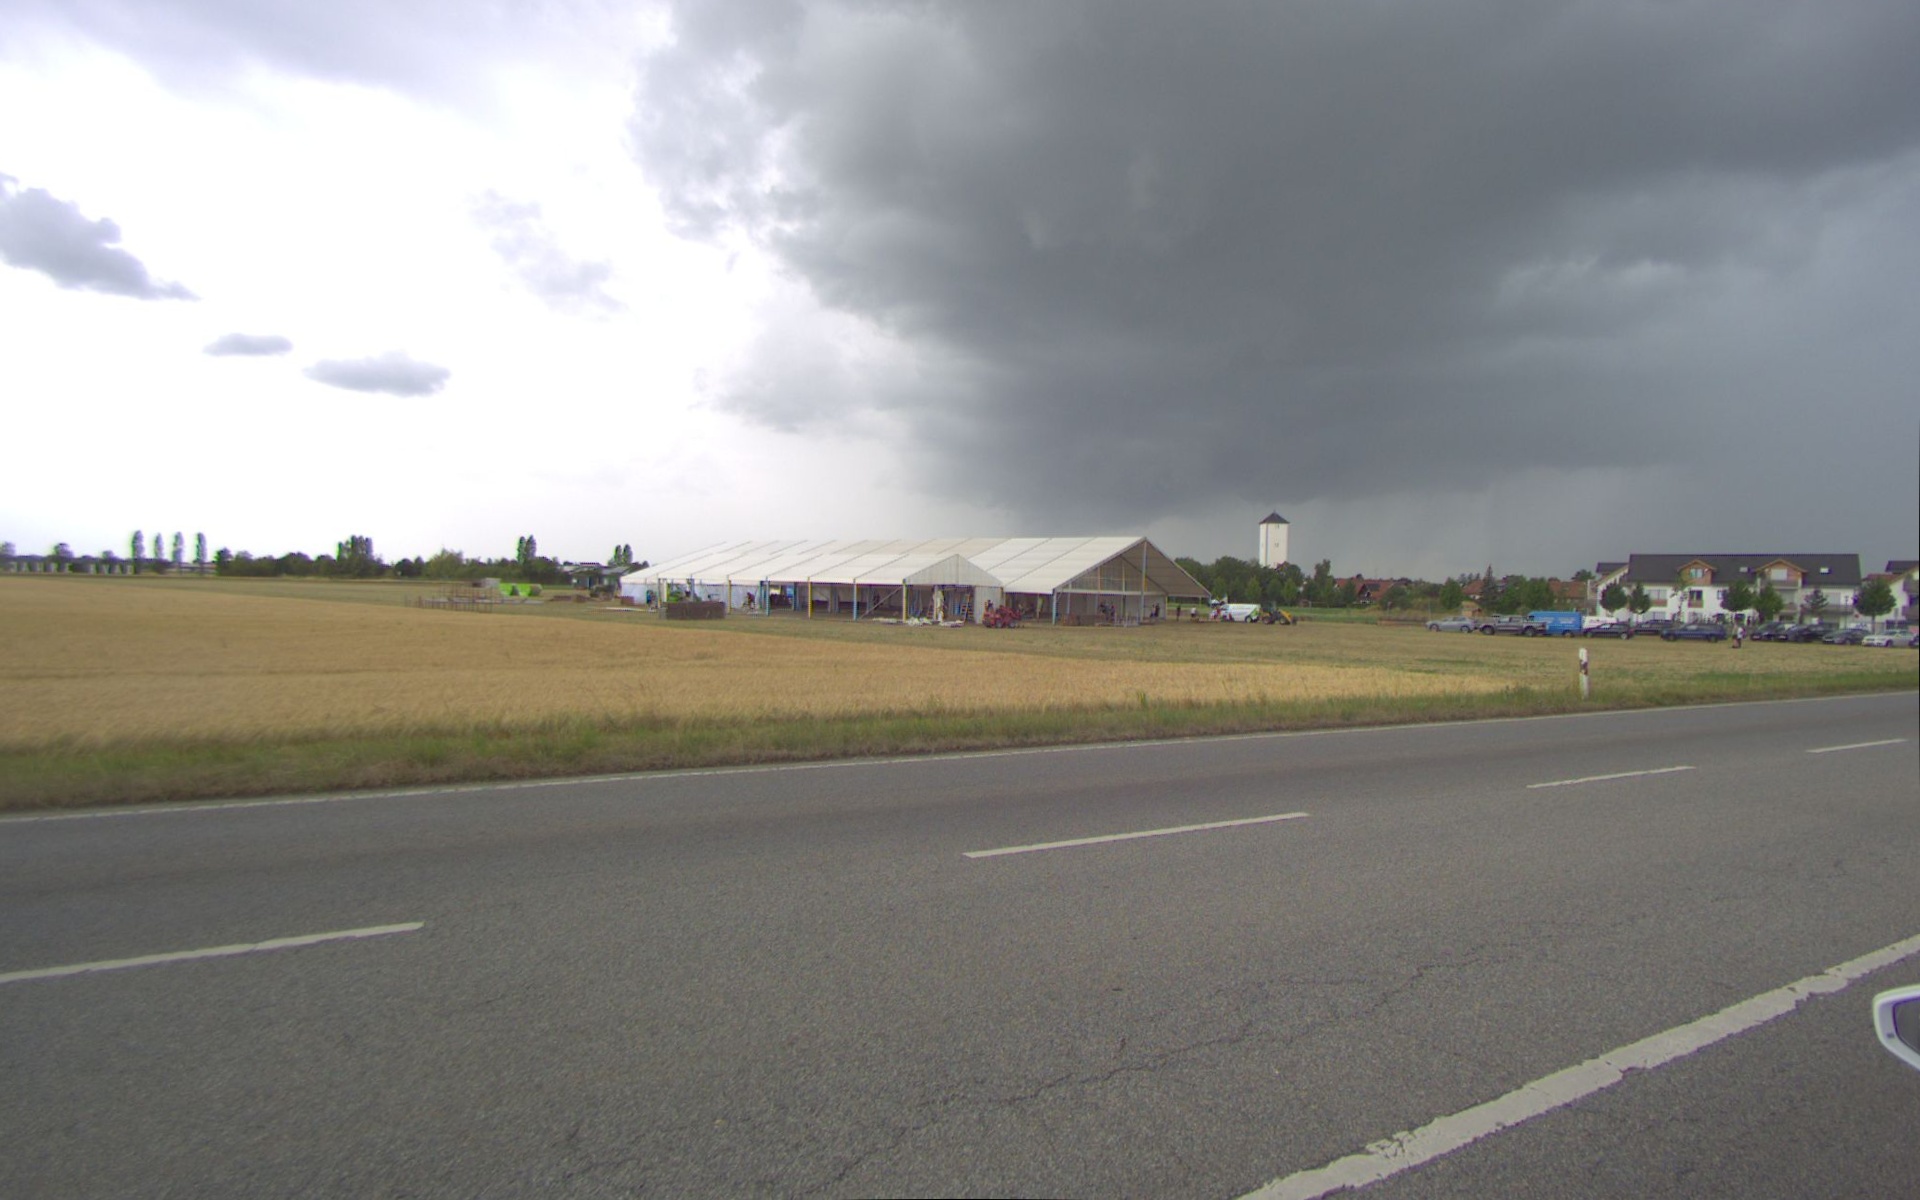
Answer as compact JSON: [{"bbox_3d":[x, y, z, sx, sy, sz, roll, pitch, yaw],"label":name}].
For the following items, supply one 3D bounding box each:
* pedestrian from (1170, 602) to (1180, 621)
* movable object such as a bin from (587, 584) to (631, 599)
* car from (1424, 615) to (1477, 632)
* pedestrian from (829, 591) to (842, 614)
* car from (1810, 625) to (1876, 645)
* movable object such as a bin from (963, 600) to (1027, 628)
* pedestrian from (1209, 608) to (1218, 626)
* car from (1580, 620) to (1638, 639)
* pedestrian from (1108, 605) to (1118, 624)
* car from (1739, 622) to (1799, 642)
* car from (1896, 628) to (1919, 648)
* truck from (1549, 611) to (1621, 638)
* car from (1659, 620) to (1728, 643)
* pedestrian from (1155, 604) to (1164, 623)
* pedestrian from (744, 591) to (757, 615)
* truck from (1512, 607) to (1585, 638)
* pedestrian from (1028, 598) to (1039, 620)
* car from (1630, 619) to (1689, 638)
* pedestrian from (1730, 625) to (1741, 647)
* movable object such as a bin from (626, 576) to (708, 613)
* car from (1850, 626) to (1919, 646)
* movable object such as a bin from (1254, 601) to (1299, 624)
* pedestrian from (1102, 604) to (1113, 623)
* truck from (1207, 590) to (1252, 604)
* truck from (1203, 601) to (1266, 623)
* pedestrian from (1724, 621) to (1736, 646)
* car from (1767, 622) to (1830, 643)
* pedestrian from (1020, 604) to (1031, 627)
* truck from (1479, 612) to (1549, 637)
[{"bbox_3d":[21.384,1.161,99.857,0.616,1.890,0.706,2,0,38],"label":"pedestrian"},{"bbox_3d":[-49.731,-1.179,142.433,2.528,2.040,5.387,2,0,41],"label":"movable object such as a bin"},{"bbox_3d":[46.214,2.210,94.639,4.236,1.481,1.886,2,0,34],"label":"car"},{"bbox_3d":[-11.878,0.212,95.706,0.930,2.130,0.860,1,0,-32],"label":"pedestrian"},{"bbox_3d":[72.596,2.876,82.570,4.138,1.556,1.995,1,0,-12],"label":"car"},{"bbox_3d":[2.569,1.030,73.248,2.555,1.889,4.458,2,0,36],"label":"movable object such as a bin"},{"bbox_3d":[25.534,1.701,101.144,0.680,1.799,0.691,2,0,40],"label":"pedestrian"},{"bbox_3d":[57.795,2.582,89.457,4.105,1.539,1.991,1,0,40],"label":"car"},{"bbox_3d":[14.540,1.352,95.452,0.646,1.767,0.724,2,0,40],"label":"pedestrian"},{"bbox_3d":[71.934,2.824,89.371,4.138,1.650,1.995,1,0,-12],"label":"car"},{"bbox_3d":[74.686,2.983,77.250,4.138,1.465,1.995,1,0,-12],"label":"car"},{"bbox_3d":[58.472,2.264,93.954,5.494,2.226,2.597,2,0,37],"label":"truck"},{"bbox_3d":[62.531,2.654,85.685,4.659,1.719,1.991,1,0,40],"label":"car"},{"bbox_3d":[19.136,1.285,96.426,0.677,1.799,0.694,2,0,-1],"label":"pedestrian"},{"bbox_3d":[-18.054,0.285,86.603,1.006,2.040,0.806,2,0,-4],"label":"pedestrian"},{"bbox_3d":[52.428,1.984,89.556,5.378,2.478,2.385,2,0,37],"label":"truck"},{"bbox_3d":[6.897,0.829,94.748,0.753,2.040,0.877,2,0,24],"label":"pedestrian"},{"bbox_3d":[68.644,2.761,98.630,4.570,1.719,1.991,1,0,40],"label":"car"},{"bbox_3d":[56.534,2.633,73.225,0.582,1.576,0.623,2,0,41],"label":"pedestrian"},{"bbox_3d":[-28.473,-0.545,97.453,7.466,3.219,4.140,3,1,39],"label":"movable object such as a bin"},{"bbox_3d":[73.604,2.875,79.965,4.138,1.465,1.995,1,0,-12],"label":"car"},{"bbox_3d":[31.979,1.256,101.479,3.928,2.273,1.881,2,0,32],"label":"movable object such as a bin"},{"bbox_3d":[14.173,1.334,96.449,0.721,1.803,0.757,2,0,40],"label":"pedestrian"},{"bbox_3d":[53.242,-0.542,198.750,3.256,2.563,9.314,1,0,-26],"label":"truck"},{"bbox_3d":[29.387,1.281,107.542,5.960,2.246,2.714,2,0,33],"label":"truck"},{"bbox_3d":[55.659,2.431,72.582,0.673,1.809,0.543,1,0,-42],"label":"pedestrian"},{"bbox_3d":[71.431,2.772,85.541,4.138,1.650,1.995,1,0,-12],"label":"car"},{"bbox_3d":[4.807,1.148,73.687,0.537,1.649,0.550,2,0,35],"label":"pedestrian"},{"bbox_3d":[48.531,2.109,88.002,5.155,1.946,2.106,2,0,34],"label":"truck"}]
